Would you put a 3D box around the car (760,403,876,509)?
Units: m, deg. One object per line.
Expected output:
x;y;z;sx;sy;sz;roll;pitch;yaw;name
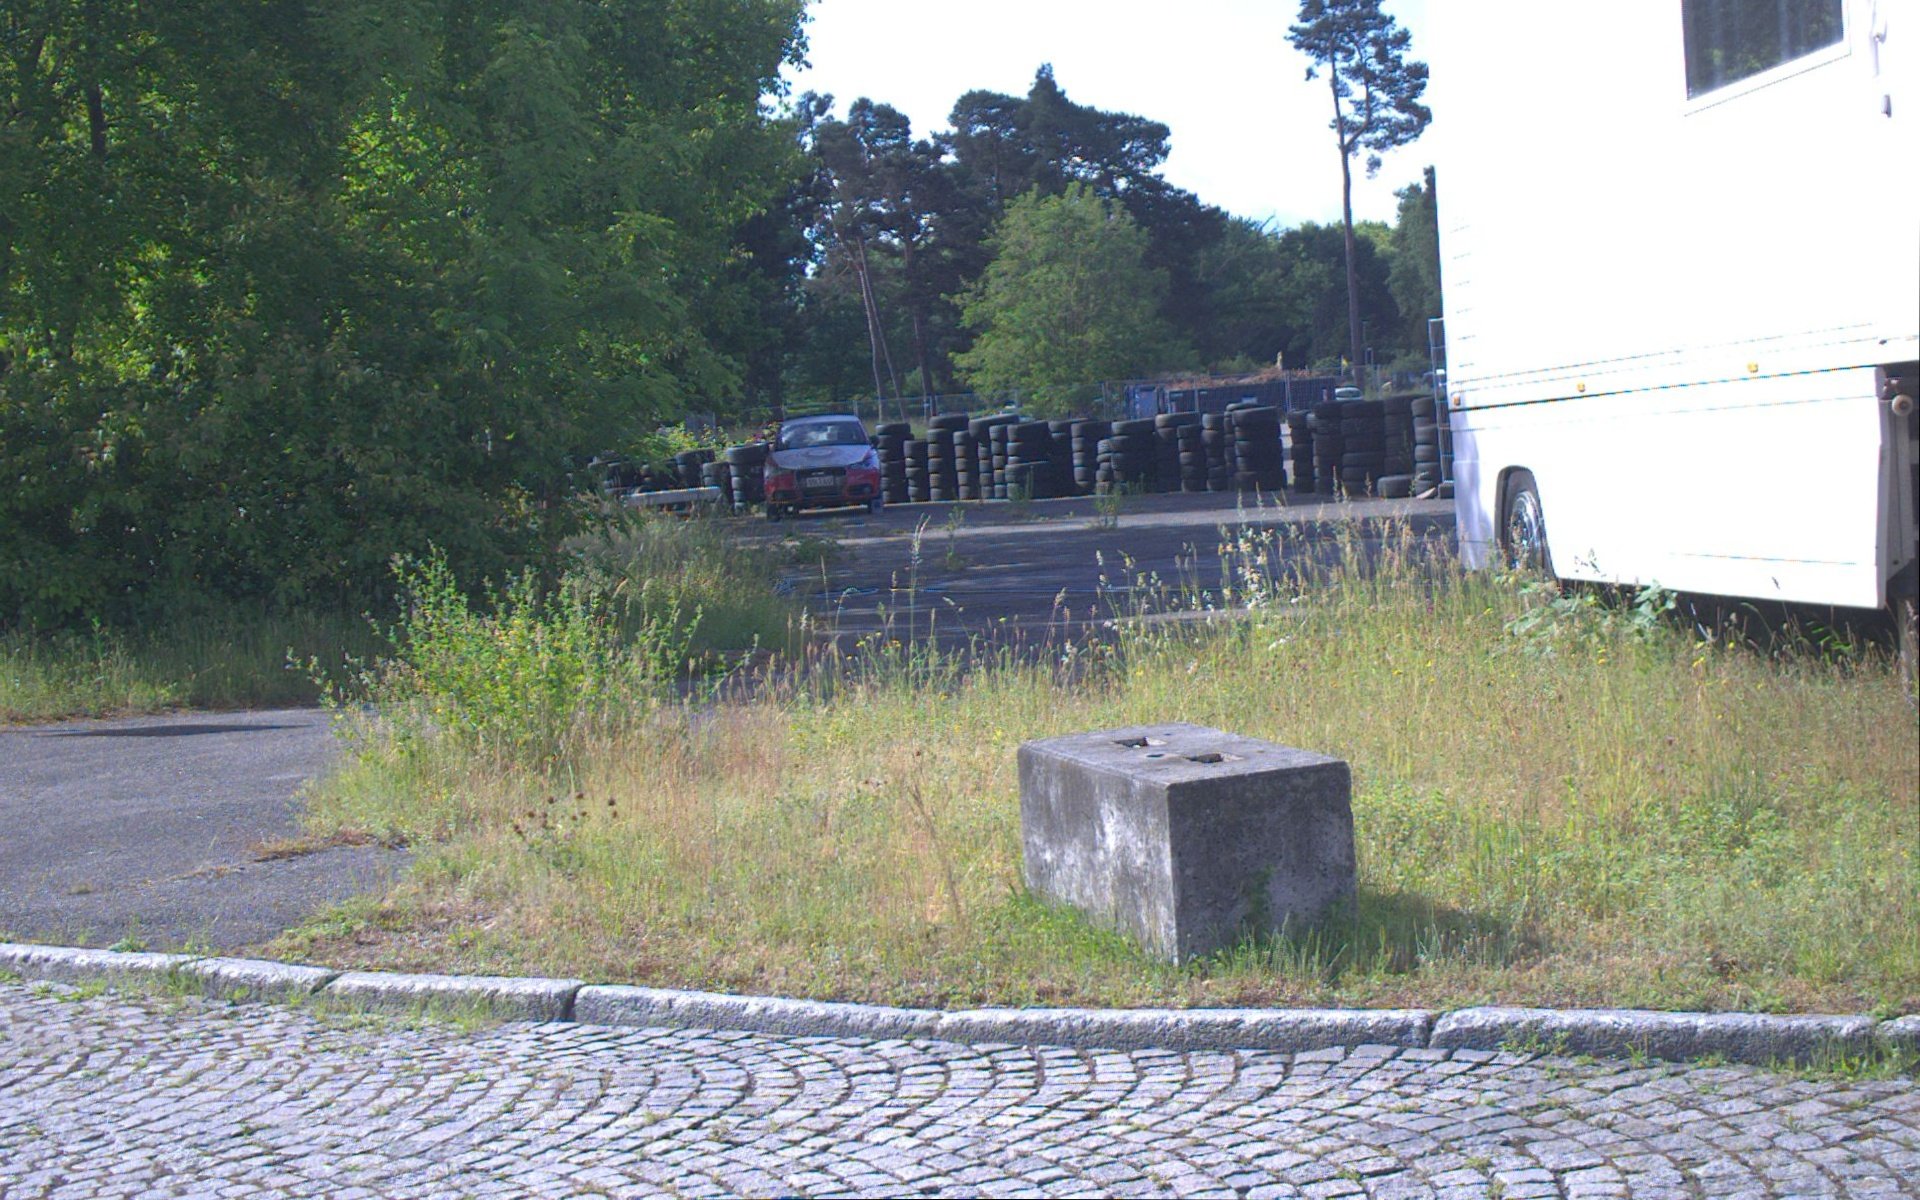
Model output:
-2.057;-2.128;50.414;1.540;1.402;3.578;-4;3;-1;car

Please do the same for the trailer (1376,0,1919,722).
4.067;-1.754;12.578;2.772;3.897;10.890;-4;3;-5;trailer
